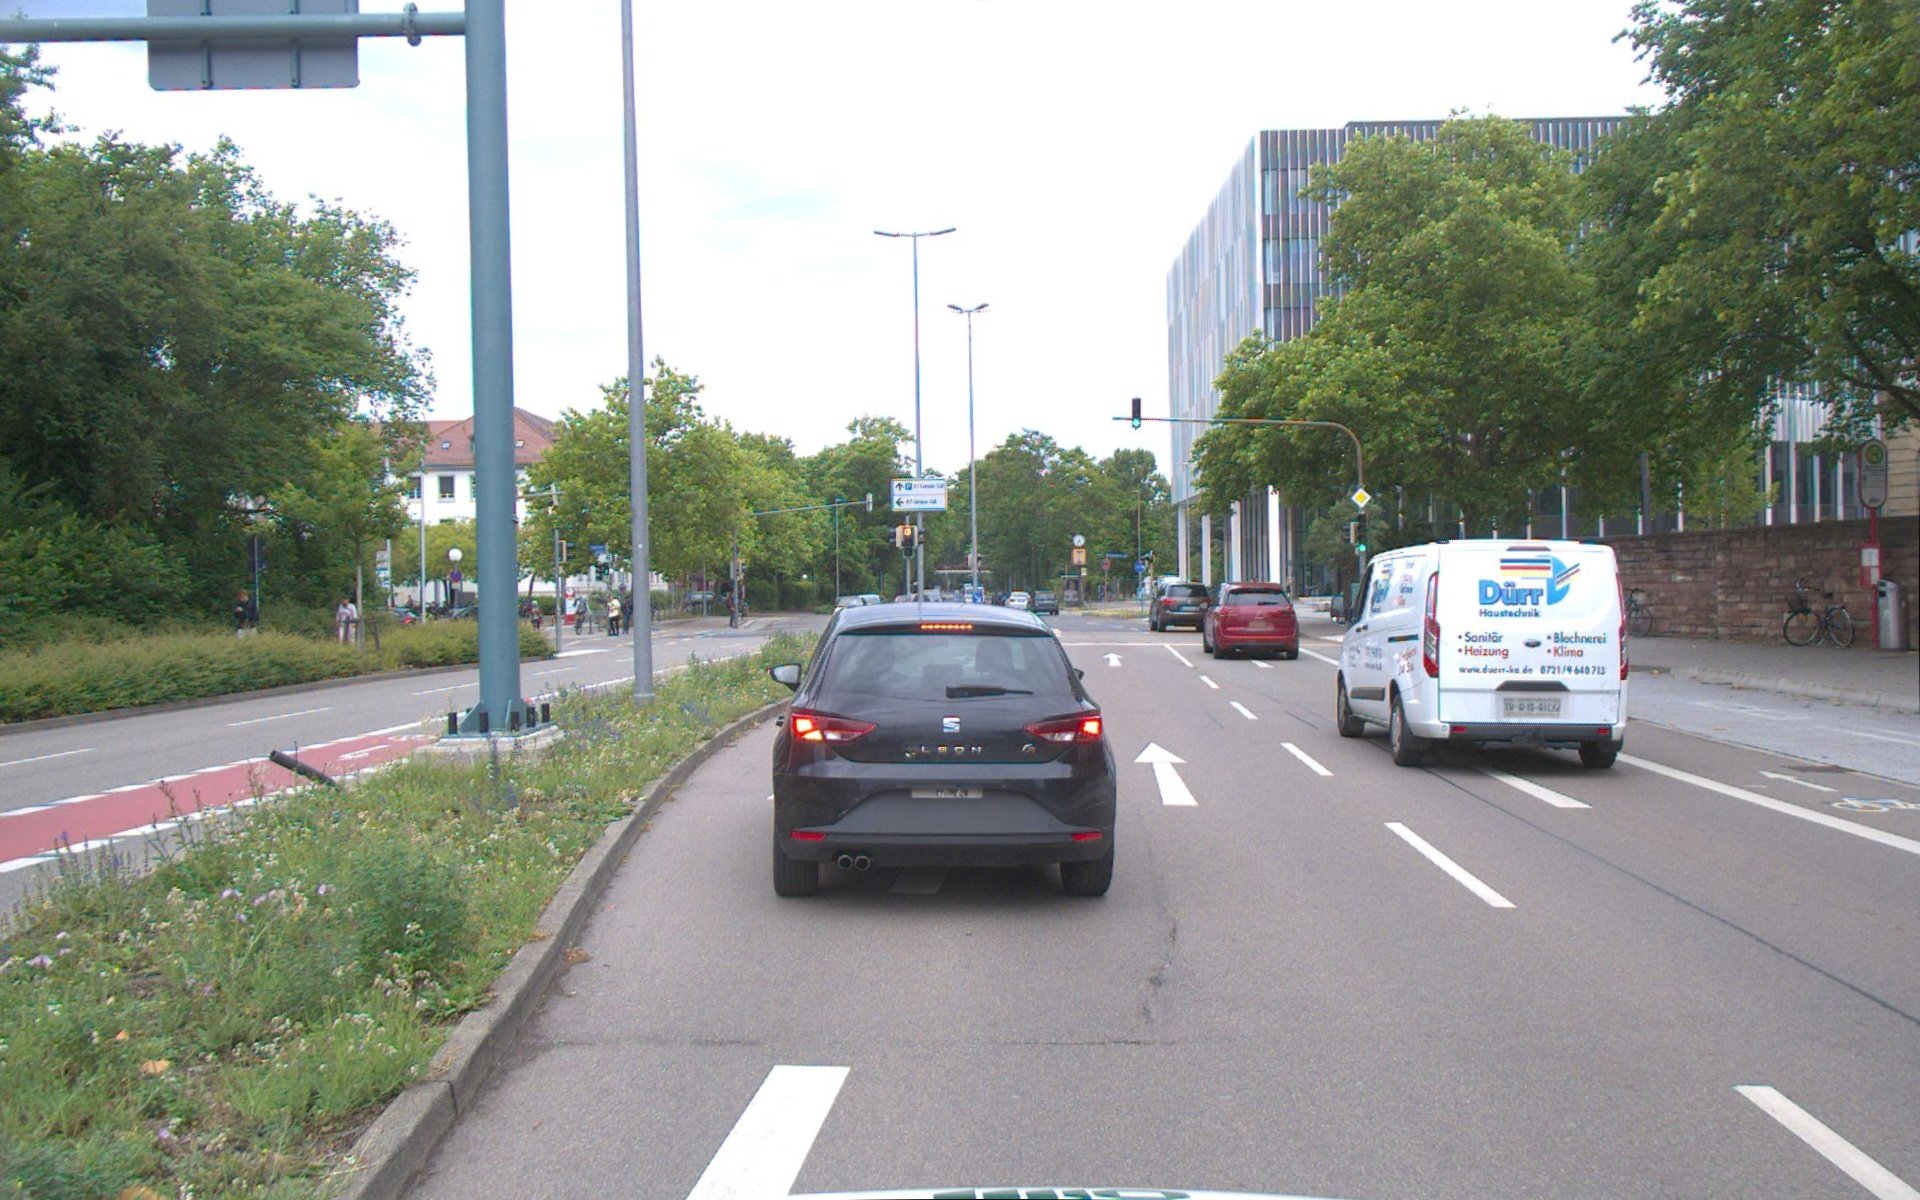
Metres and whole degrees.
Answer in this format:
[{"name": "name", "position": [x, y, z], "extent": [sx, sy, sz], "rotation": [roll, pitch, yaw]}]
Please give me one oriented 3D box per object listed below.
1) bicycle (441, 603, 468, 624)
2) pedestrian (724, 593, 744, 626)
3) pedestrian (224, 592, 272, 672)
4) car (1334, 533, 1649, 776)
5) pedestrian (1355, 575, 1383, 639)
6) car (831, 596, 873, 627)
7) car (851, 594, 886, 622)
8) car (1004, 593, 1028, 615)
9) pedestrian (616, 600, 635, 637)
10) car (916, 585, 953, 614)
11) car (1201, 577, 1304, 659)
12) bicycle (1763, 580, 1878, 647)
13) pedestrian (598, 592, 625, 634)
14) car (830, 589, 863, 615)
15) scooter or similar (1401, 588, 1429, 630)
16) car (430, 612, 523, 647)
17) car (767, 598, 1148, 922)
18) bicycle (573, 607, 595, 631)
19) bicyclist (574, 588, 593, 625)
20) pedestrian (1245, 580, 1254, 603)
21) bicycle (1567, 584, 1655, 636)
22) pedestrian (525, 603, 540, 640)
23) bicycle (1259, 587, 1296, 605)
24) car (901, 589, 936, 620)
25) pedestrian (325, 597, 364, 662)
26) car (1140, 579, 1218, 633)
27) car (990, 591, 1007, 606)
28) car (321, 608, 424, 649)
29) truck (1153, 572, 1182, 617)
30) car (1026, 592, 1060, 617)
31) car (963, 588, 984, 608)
[{"name": "bicycle", "position": [-28.068, 0.755, 91.885], "extent": [1.378, 1.070, 0.586], "rotation": [-3, 1, -16]}, {"name": "pedestrian", "position": [-11.179, 0.464, 81.843], "extent": [0.857, 1.613, 0.543], "rotation": [-3, 0, -3]}, {"name": "pedestrian", "position": [-16.252, 0.719, 37.763], "extent": [0.607, 1.759, 0.819], "rotation": [-3, 0, 4]}, {"name": "car", "position": [4.928, 0.425, 15.993], "extent": [1.925, 2.006, 4.346], "rotation": [0, 1, 4]}, {"name": "pedestrian", "position": [11.573, 0.194, 46.819], "extent": [0.452, 1.769, 0.549], "rotation": [-3, 0, -35]}, {"name": "car", "position": [-5.439, 0.562, 83.486], "extent": [1.574, 1.405, 3.811], "rotation": [-3, 1, 4]}, {"name": "car", "position": [-5.133, 0.433, 93.324], "extent": [1.670, 1.456, 4.227], "rotation": [-3, 1, 0]}, {"name": "car", "position": [3.956, 0.279, 116.935], "extent": [1.582, 1.377, 4.001], "rotation": [-3, 1, 1]}, {"name": "pedestrian", "position": [-14.941, 0.829, 73.844], "extent": [0.776, 1.585, 0.696], "rotation": [-1, -3, -16]}, {"name": "car", "position": [-1.590, -0.018, 105.481], "extent": [1.880, 1.693, 4.401], "rotation": [-3, 0, 4]}, {"name": "car", "position": [6.300, 0.349, 35.972], "extent": [1.908, 1.652, 3.752], "rotation": [0, 1, 5]}, {"name": "bicycle", "position": [15.742, 0.240, 30.318], "extent": [0.833, 1.147, 1.918], "rotation": [-3, 0, -11]}, {"name": "pedestrian", "position": [-15.252, 0.568, 72.353], "extent": [0.833, 1.770, 0.820], "rotation": [0, -5, -35]}, {"name": "car", "position": [-8.429, 0.145, 122.756], "extent": [1.866, 1.746, 4.002], "rotation": [-3, 1, 4]}, {"name": "scooter or similar", "position": [13.930, 0.258, 50.601], "extent": [0.424, 1.199, 1.701], "rotation": [-3, 0, 28]}, {"name": "car", "position": [-21.042, 1.274, 72.059], "extent": [3.582, 1.244, 1.564], "rotation": [-1, 7, -2]}, {"name": "car", "position": [-0.055, 0.719, 9.358], "extent": [1.717, 1.457, 3.768], "rotation": [0, 0, -2]}, {"name": "bicycle", "position": [-16.830, 0.843, 73.987], "extent": [0.652, 1.081, 1.618], "rotation": [0, -1, -2]}, {"name": "bicyclist", "position": [-16.819, 0.294, 73.890], "extent": [0.652, 1.664, 0.961], "rotation": [0, -1, -2]}, {"name": "pedestrian", "position": [17.986, -0.521, 102.831], "extent": [0.462, 1.385, 0.446], "rotation": [-3, 0, 14]}, {"name": "bicycle", "position": [14.752, 0.221, 37.528], "extent": [0.923, 1.092, 1.964], "rotation": [-3, 0, -11]}, {"name": "pedestrian", "position": [-18.623, 0.927, 72.055], "extent": [0.562, 1.553, 0.844], "rotation": [-1, -4, -20]}, {"name": "bicycle", "position": [17.325, -0.228, 90.315], "extent": [1.856, 0.914, 0.694], "rotation": [-3, 1, -17]}, {"name": "car", "position": [-2.178, 0.256, 87.366], "extent": [1.728, 1.485, 4.790], "rotation": [-3, 0, -1]}, {"name": "pedestrian", "position": [-16.255, 0.783, 43.678], "extent": [0.685, 1.664, 0.672], "rotation": [-3, 0, 4]}, {"name": "car", "position": [7.472, 0.184, 56.809], "extent": [1.876, 1.693, 4.112], "rotation": [-3, 1, -3]}, {"name": "car", "position": [3.498, -0.136, 150.523], "extent": [1.474, 1.214, 3.163], "rotation": [-3, 1, 1]}, {"name": "car", "position": [-25.321, 1.217, 71.378], "extent": [3.981, 1.477, 1.618], "rotation": [-2, 6, -14]}, {"name": "truck", "position": [11.099, -0.320, 88.603], "extent": [1.290, 2.282, 3.403], "rotation": [-3, 1, 4]}, {"name": "car", "position": [5.053, 0.277, 101.147], "extent": [1.860, 1.377, 3.883], "rotation": [-3, 1, 1]}, {"name": "car", "position": [1.162, -0.206, 137.678], "extent": [1.661, 1.530, 4.010], "rotation": [-3, 1, 1]}]
